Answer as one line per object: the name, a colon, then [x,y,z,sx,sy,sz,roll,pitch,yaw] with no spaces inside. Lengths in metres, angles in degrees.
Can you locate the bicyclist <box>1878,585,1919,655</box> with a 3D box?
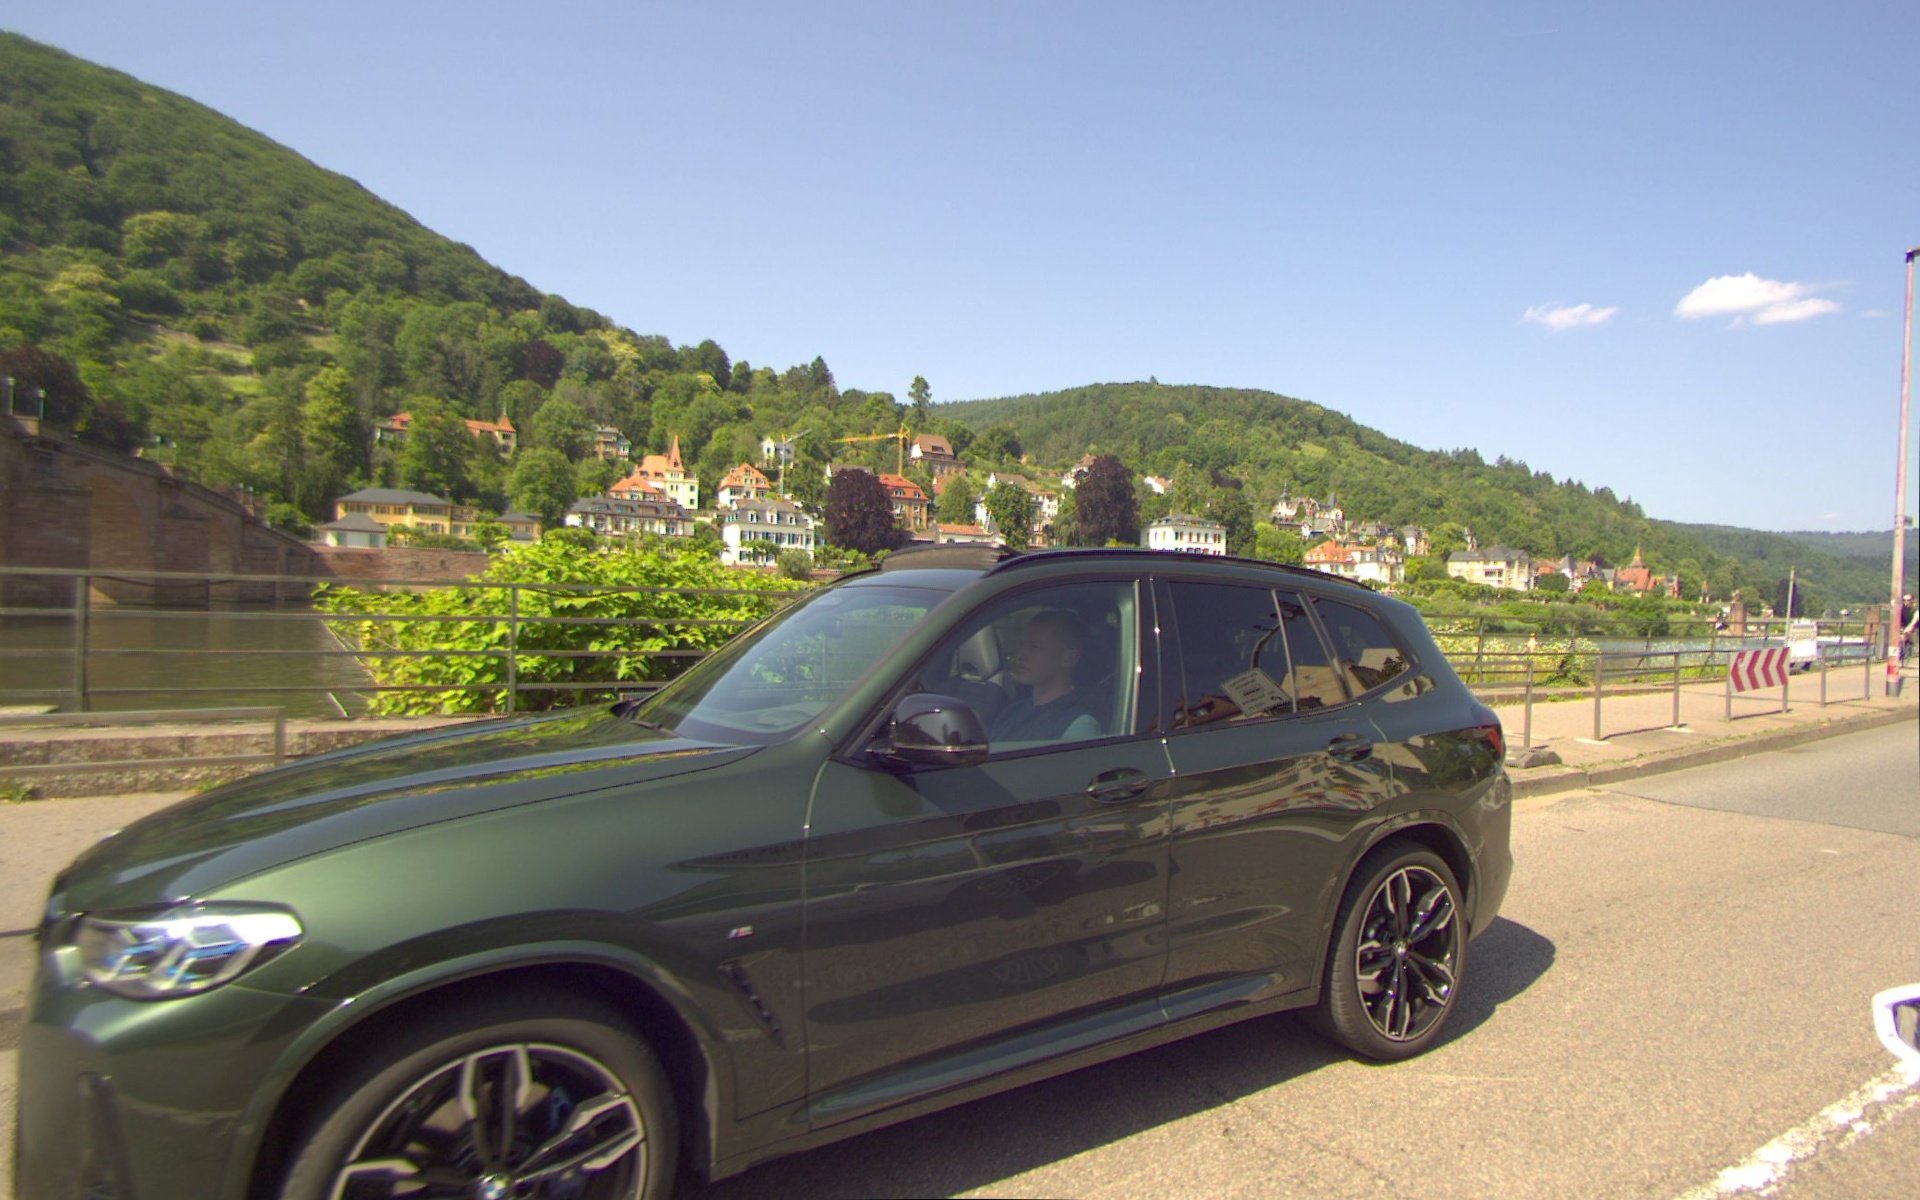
bicyclist: [22.510,0.475,24.030,0.971,1.653,0.661,1,-1,-39]

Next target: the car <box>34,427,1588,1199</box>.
car: [0.026,0.624,3.458,4.403,1.703,1.853,1,-1,-31]

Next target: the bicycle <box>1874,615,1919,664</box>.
bicycle: [22.543,0.926,24.060,2.017,1.127,0.661,1,-1,-39]
